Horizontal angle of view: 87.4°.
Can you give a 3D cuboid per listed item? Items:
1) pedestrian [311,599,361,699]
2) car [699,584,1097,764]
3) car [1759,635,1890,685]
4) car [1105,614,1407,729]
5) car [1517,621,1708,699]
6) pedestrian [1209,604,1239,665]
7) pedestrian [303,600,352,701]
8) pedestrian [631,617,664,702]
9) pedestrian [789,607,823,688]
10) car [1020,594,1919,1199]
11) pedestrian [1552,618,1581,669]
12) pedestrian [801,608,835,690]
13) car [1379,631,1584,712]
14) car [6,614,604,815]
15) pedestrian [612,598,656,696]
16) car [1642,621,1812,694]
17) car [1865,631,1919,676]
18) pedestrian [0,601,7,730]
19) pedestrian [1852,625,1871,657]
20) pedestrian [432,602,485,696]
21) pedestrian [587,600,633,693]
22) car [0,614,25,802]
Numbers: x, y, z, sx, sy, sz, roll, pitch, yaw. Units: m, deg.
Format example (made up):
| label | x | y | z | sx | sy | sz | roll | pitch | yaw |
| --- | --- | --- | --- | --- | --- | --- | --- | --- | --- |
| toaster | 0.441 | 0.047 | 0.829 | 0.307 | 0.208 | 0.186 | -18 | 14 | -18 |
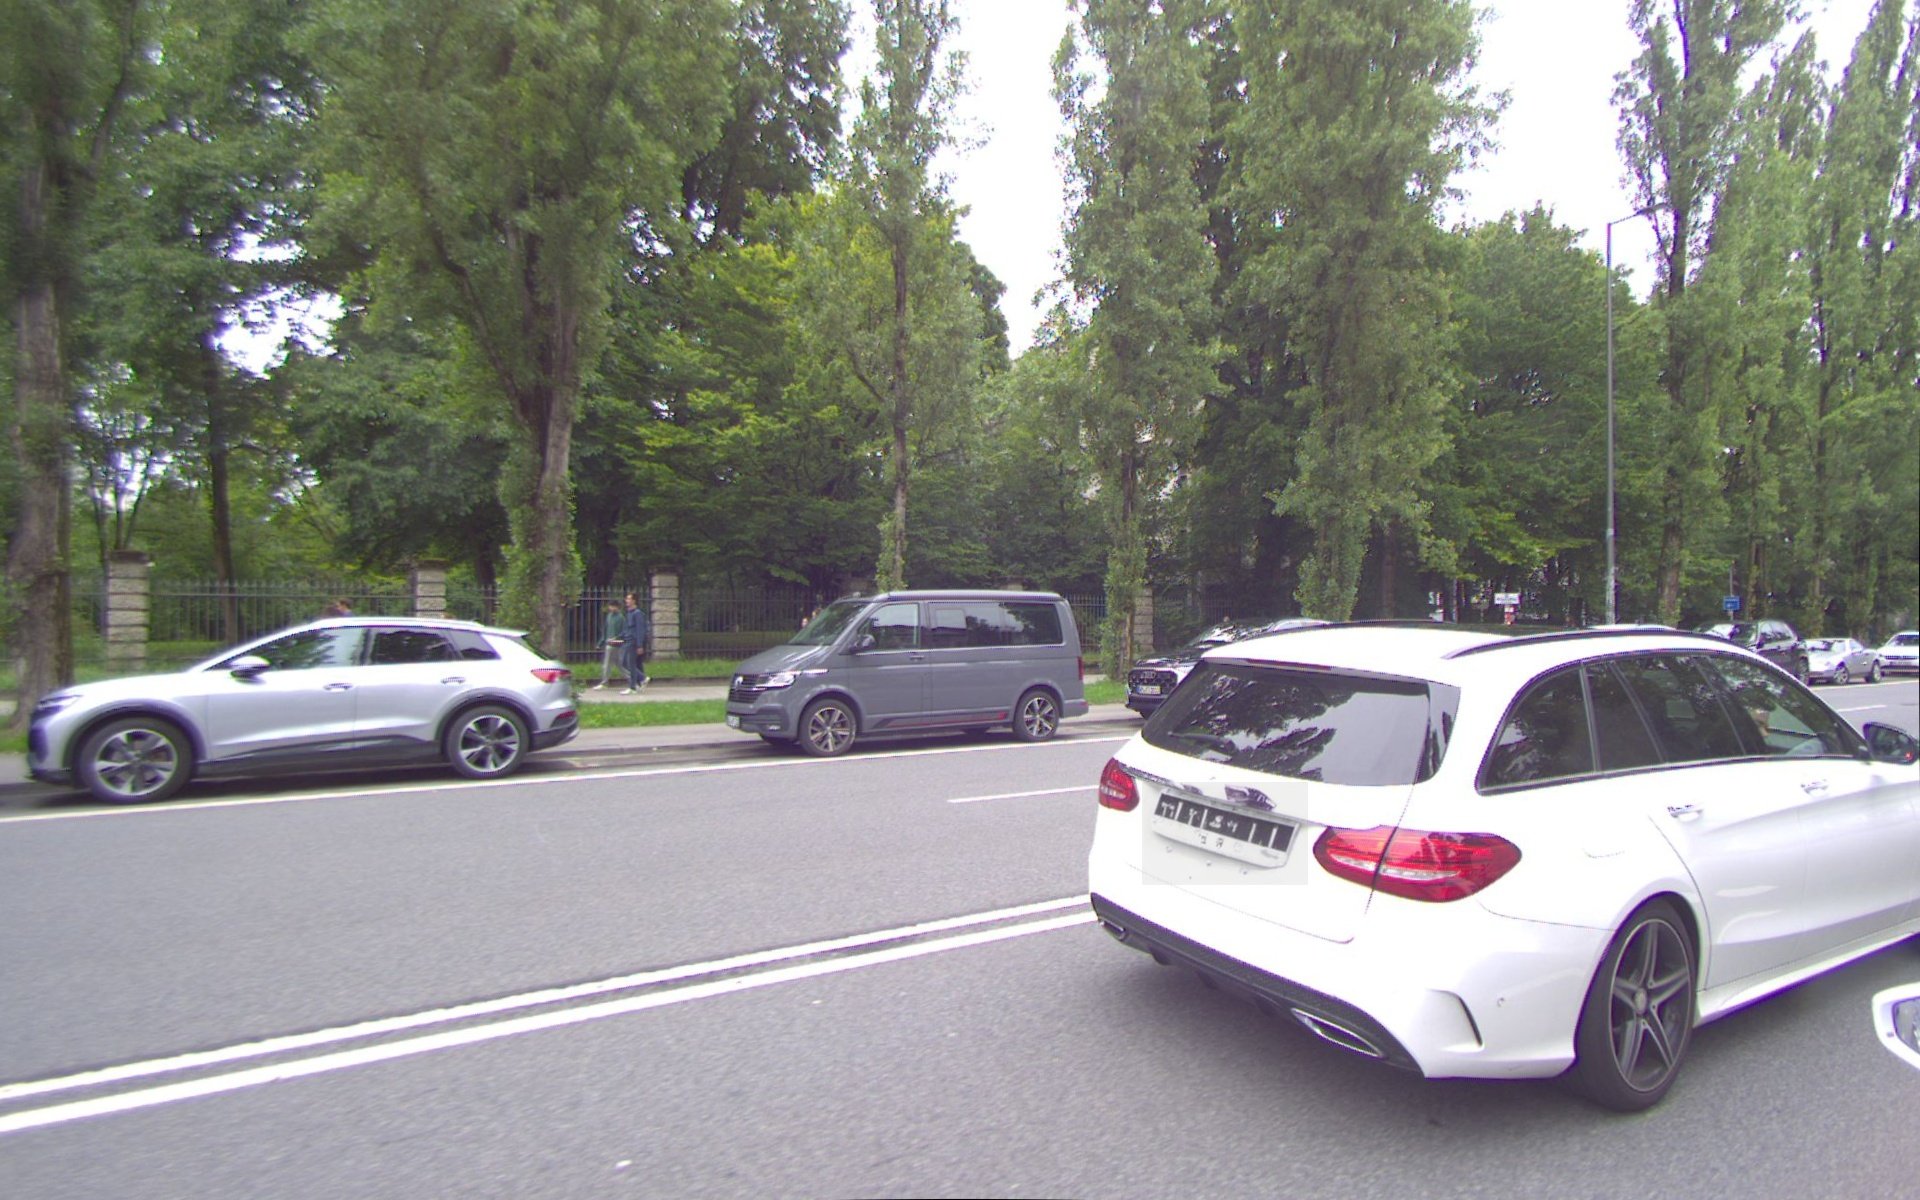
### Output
| label | x | y | z | sx | sy | sz | roll | pitch | yaw |
| --- | --- | --- | --- | --- | --- | --- | --- | --- | --- |
| pedestrian | -11.036 | 0.853 | 17.783 | 0.714 | 1.730 | 0.506 | 1 | 0 | -30 |
| car | -0.743 | 0.879 | 13.213 | 4.881 | 1.982 | 1.984 | 1 | -3 | -31 |
| car | 24.484 | 1.665 | 28.421 | 3.981 | 1.321 | 1.573 | 1 | -3 | -30 |
| car | 4.886 | 1.107 | 16.323 | 4.995 | 1.629 | 1.806 | 1 | -4 | -31 |
| car | 14.691 | 1.302 | 22.560 | 4.409 | 1.609 | 1.777 | 1 | -3 | -30 |
| pedestrian | 7.810 | 1.015 | 29.729 | 0.665 | 1.771 | 0.546 | 1 | 0 | -32 |
| pedestrian | -10.855 | 0.850 | 17.249 | 0.665 | 1.691 | 0.546 | 1 | 0 | -30 |
| pedestrian | -6.365 | 1.190 | 20.429 | 0.541 | 1.697 | 0.583 | 1 | -1 | -28 |
| pedestrian | -3.348 | 1.017 | 21.845 | 0.563 | 1.730 | 0.506 | 1 | 0 | -30 |
| car | 2.642 | 0.761 | 4.335 | 4.530 | 1.474 | 1.816 | 1 | 0 | -31 |
| pedestrian | 22.136 | 1.564 | 36.662 | 0.766 | 1.839 | 0.637 | 1 | -1 | -31 |
| pedestrian | -3.021 | 1.029 | 21.342 | 0.563 | 1.730 | 0.506 | 1 | 0 | -30 |
| car | 10.354 | 1.361 | 19.885 | 4.189 | 1.440 | 1.668 | 1 | -3 | -31 |
| car | -6.154 | 0.980 | 10.076 | 4.601 | 1.605 | 1.881 | 1 | -2 | -31 |
| pedestrian | -6.415 | 0.911 | 19.748 | 0.714 | 1.884 | 0.506 | 1 | 0 | -30 |
| car | 19.385 | 1.409 | 25.346 | 4.666 | 1.680 | 1.870 | 1 | -3 | -32 |
| car | 31.678 | 1.737 | 33.120 | 3.960 | 1.431 | 1.676 | 1 | -3 | -32 |
| pedestrian | -13.320 | 0.881 | 13.383 | 0.778 | 1.743 | 0.579 | 1 | 0 | -32 |
| pedestrian | 49.762 | 2.250 | 55.443 | 0.633 | 1.762 | 0.596 | 1 | -1 | -31 |
| pedestrian | -8.975 | 0.862 | 17.967 | 0.782 | 1.639 | 0.706 | 1 | -1 | -31 |
| pedestrian | -7.238 | 0.947 | 20.758 | 0.748 | 1.879 | 0.743 | 1 | 0 | -30 |
| car | -10.091 | 0.896 | 7.262 | 4.561 | 1.617 | 1.773 | 1 | -3 | -31 |
